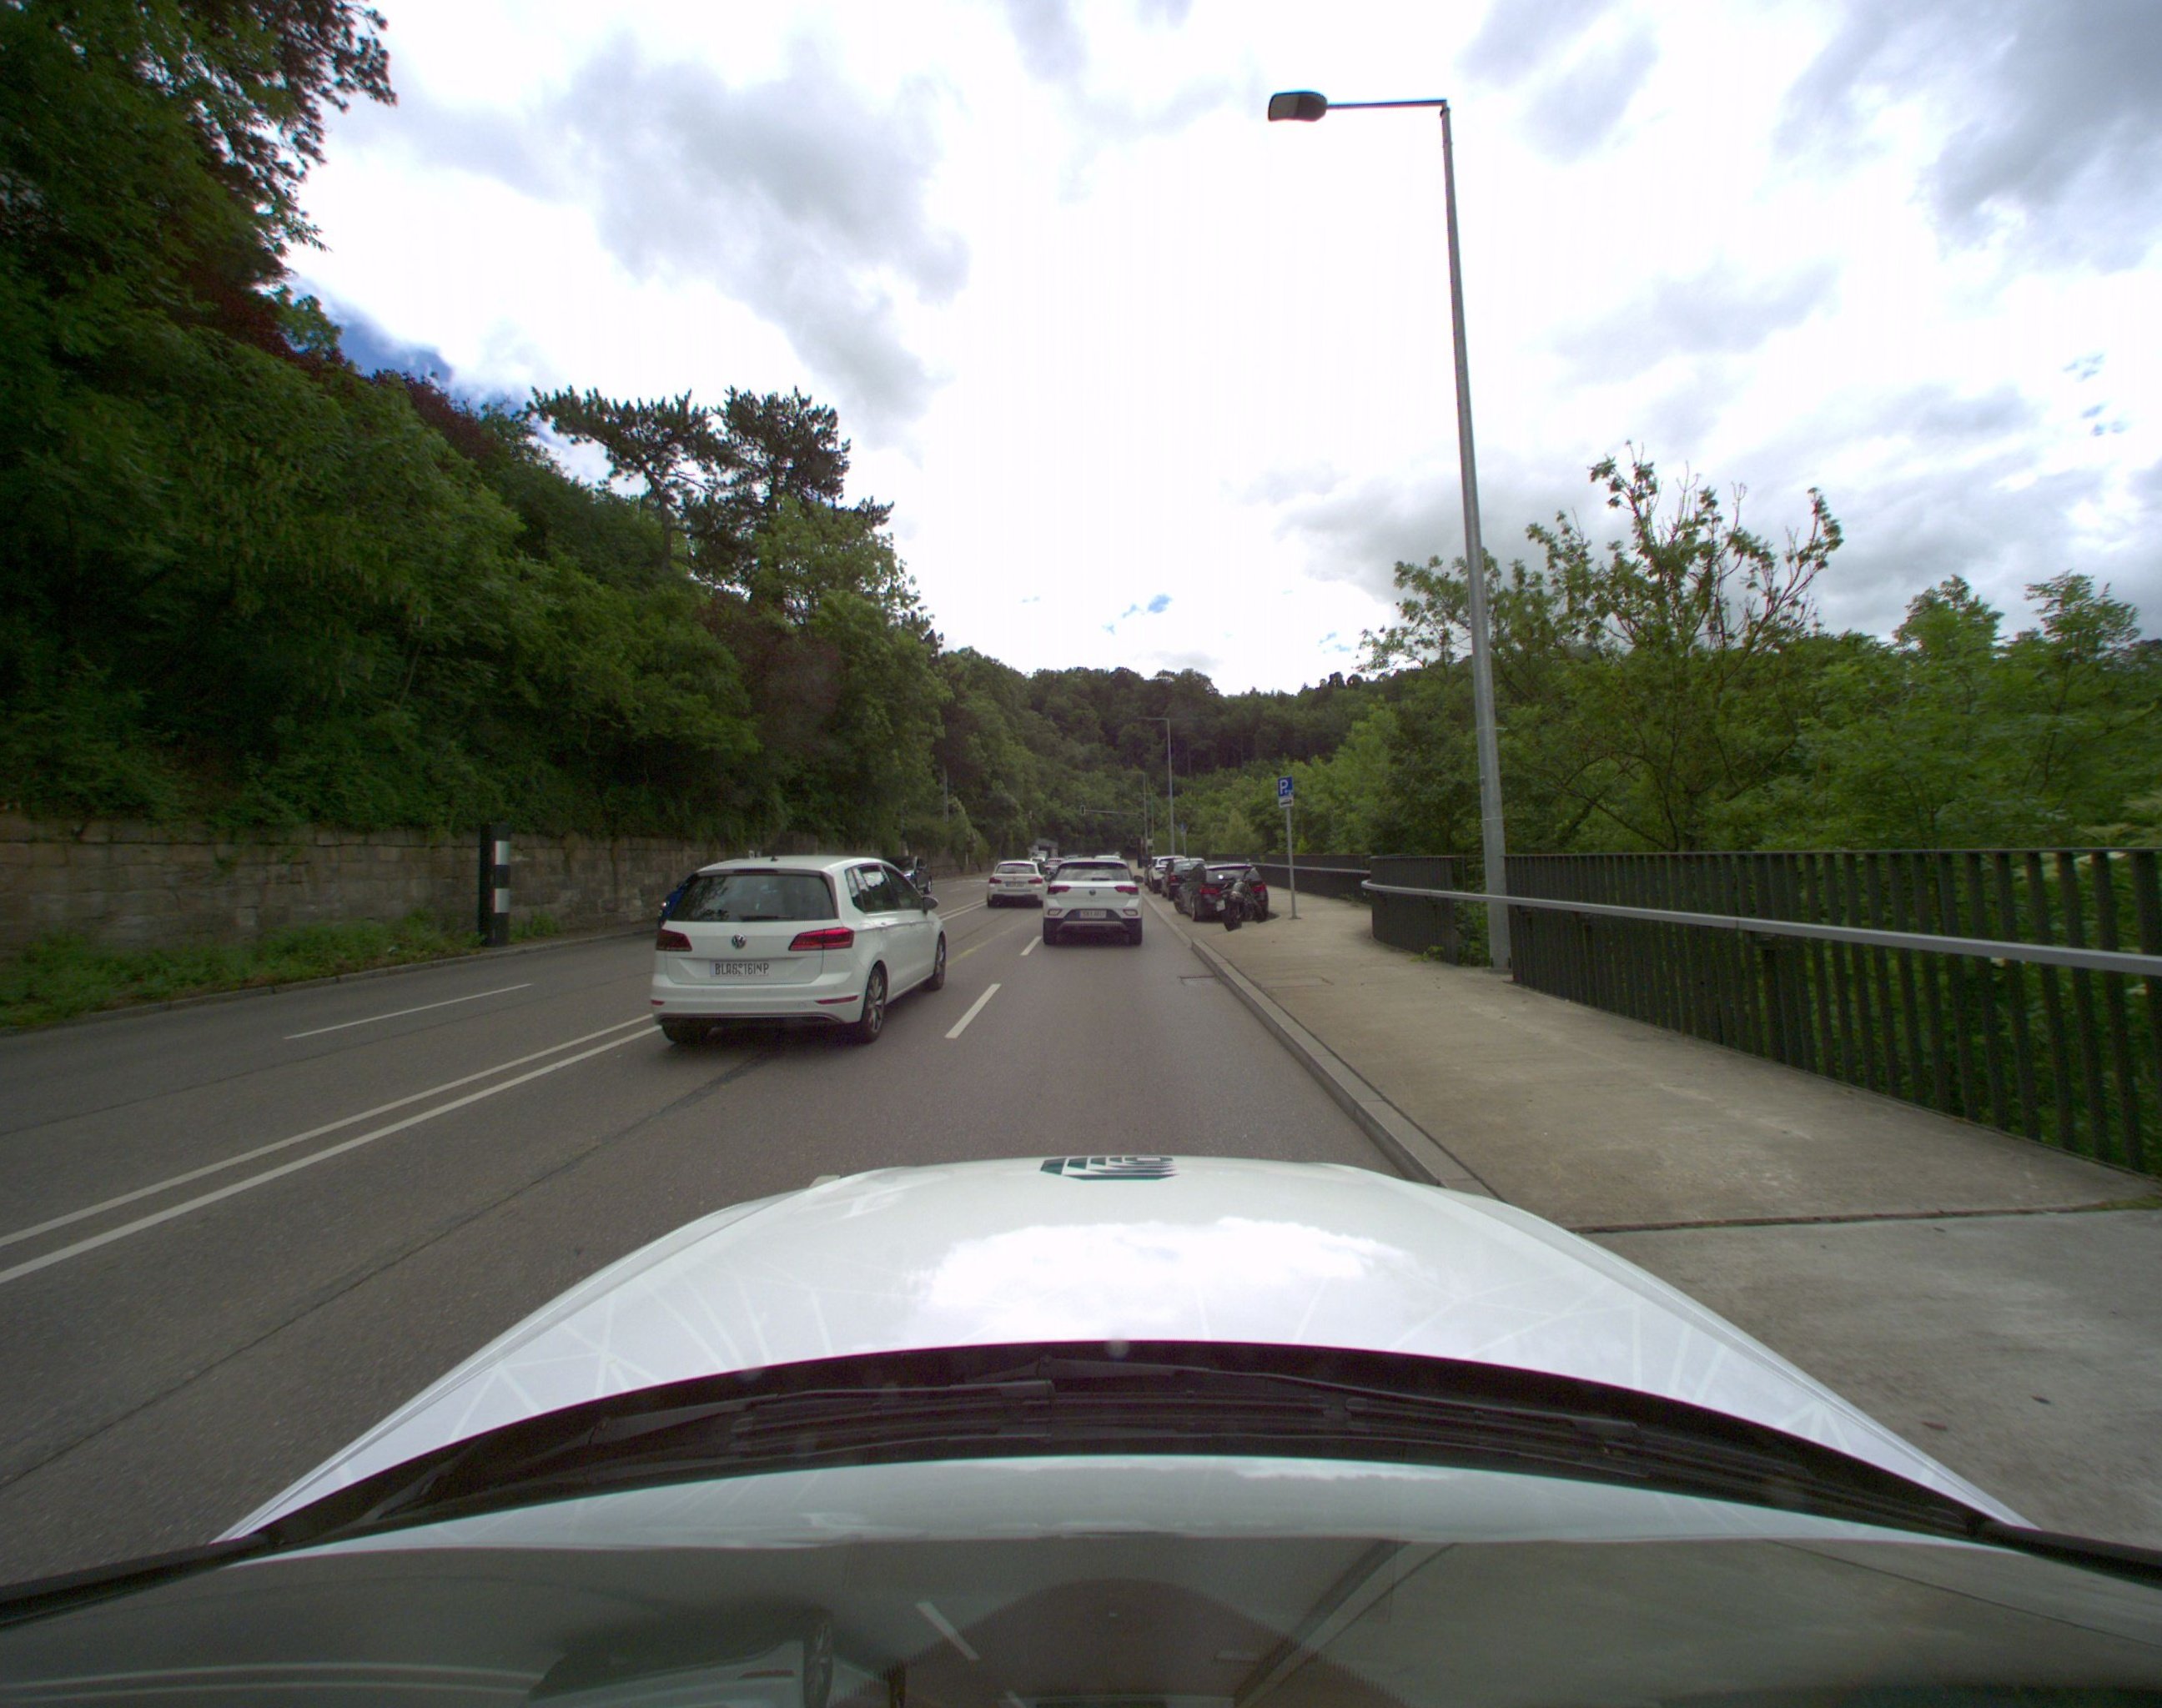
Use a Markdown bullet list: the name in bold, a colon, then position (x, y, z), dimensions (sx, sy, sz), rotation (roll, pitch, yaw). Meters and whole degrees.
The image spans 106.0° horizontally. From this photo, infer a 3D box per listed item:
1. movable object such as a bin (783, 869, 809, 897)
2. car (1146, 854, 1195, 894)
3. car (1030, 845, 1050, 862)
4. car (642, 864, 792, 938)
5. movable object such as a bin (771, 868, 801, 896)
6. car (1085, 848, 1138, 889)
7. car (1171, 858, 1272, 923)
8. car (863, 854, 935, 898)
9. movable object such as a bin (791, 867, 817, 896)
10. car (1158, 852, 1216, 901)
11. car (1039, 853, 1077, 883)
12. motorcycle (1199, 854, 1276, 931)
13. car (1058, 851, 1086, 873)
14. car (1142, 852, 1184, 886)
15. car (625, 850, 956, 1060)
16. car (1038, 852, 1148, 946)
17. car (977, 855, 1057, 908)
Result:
- **movable object such as a bin**: position (-10.966, 1.111, 31.361), dimensions (0.770, 1.062, 0.717), rotation (-1, 0, -2)
- **car**: position (3.846, 0.831, 35.717), dimensions (1.720, 1.568, 4.626), rotation (-2, -1, 2)
- **car**: position (-4.981, -0.041, 99.459), dimensions (1.914, 2.005, 5.358), rotation (-1, 0, 2)
- **car**: position (-7.882, 0.951, 17.984), dimensions (1.577, 1.461, 3.526), rotation (0, -1, 3)
- **movable object such as a bin**: position (-11.079, 1.053, 30.604), dimensions (0.896, 1.034, 0.621), rotation (-1, 0, -2)
- **car**: position (1.507, 0.660, 39.075), dimensions (1.982, 1.843, 4.161), rotation (1, 0, 9)
- **car**: position (3.470, 0.844, 20.903), dimensions (1.817, 1.401, 4.319), rotation (-3, 0, 1)
- **car**: position (-7.386, 0.863, 33.513), dimensions (1.809, 1.697, 4.471), rotation (0, 0, 2)
- **movable object such as a bin**: position (-10.915, 1.082, 32.099), dimensions (0.785, 1.071, 0.708), rotation (-1, 1, -2)
- **car**: position (3.864, 0.778, 30.327), dimensions (1.653, 1.572, 4.257), rotation (-4, 0, 2)
- **car**: position (-1.296, 0.770, 47.314), dimensions (1.855, 1.595, 4.003), rotation (1, 0, 2)
- **motorcycle**: position (3.286, 0.744, 16.836), dimensions (0.762, 1.467, 2.520), rotation (-1, 0, 30)
- **car**: position (-0.656, 0.622, 64.561), dimensions (1.985, 1.741, 4.003), rotation (0, 0, 3)
- **car**: position (4.151, 0.751, 41.858), dimensions (1.750, 1.544, 4.429), rotation (-4, 0, 2)
- **car**: position (-2.493, 0.753, 8.205), dimensions (1.714, 1.554, 4.276), rotation (0, 0, 1)
- **car**: position (0.239, 0.787, 15.765), dimensions (1.807, 1.539, 4.009), rotation (-2, -1, 1)
- **car**: position (-1.966, 0.802, 26.450), dimensions (1.985, 1.557, 4.684), rotation (0, 0, 3)
